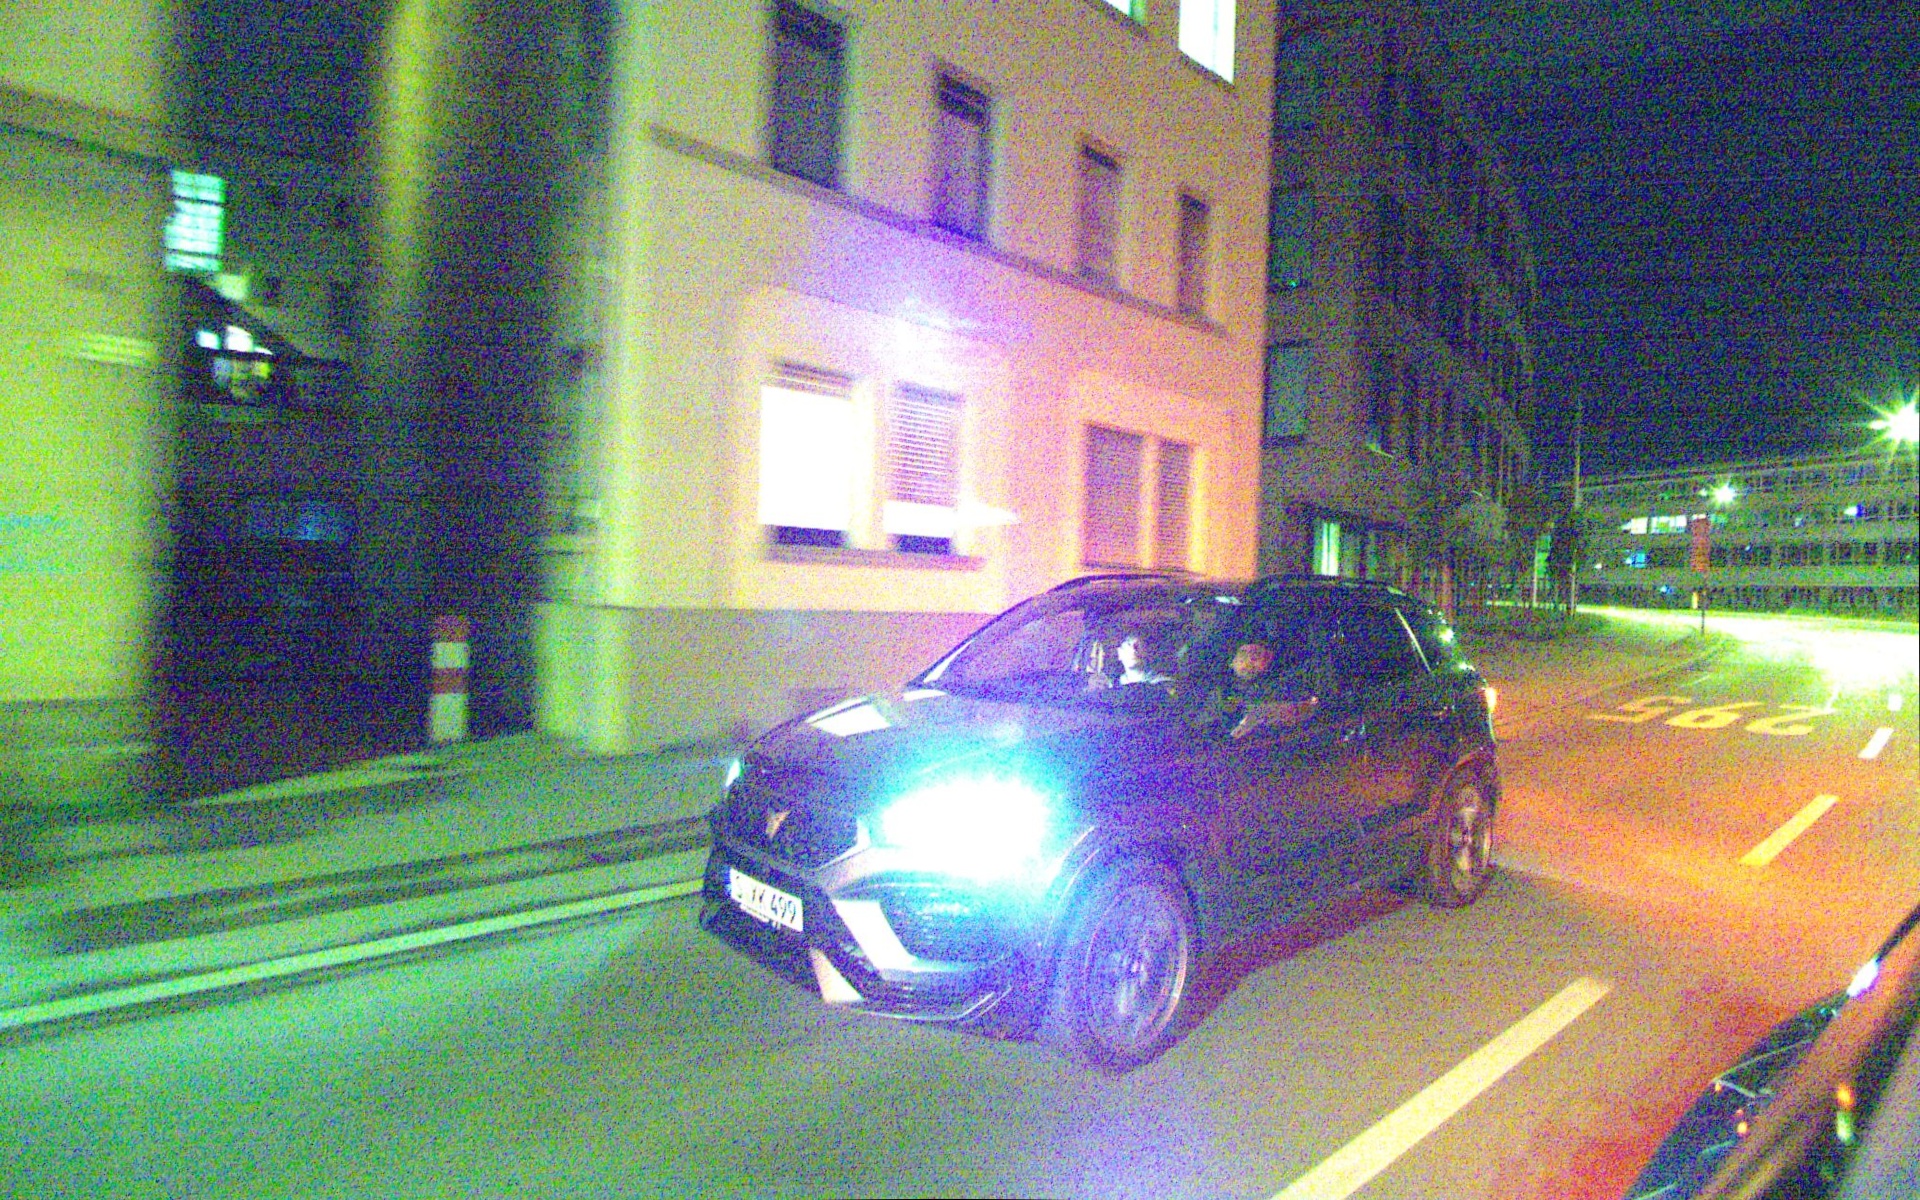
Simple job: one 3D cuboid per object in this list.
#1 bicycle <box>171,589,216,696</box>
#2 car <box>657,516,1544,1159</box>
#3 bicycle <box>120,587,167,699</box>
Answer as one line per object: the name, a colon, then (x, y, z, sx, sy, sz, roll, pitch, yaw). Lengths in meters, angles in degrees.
bicycle: (-8.482, 0.427, 11.194, 0.379, 1.074, 1.590, 0, 2, -38)
car: (0.955, 0.556, 4.569, 4.156, 1.630, 1.673, -1, 2, -41)
bicycle: (-8.575, 0.416, 10.648, 0.349, 1.074, 1.421, 0, 2, -38)
